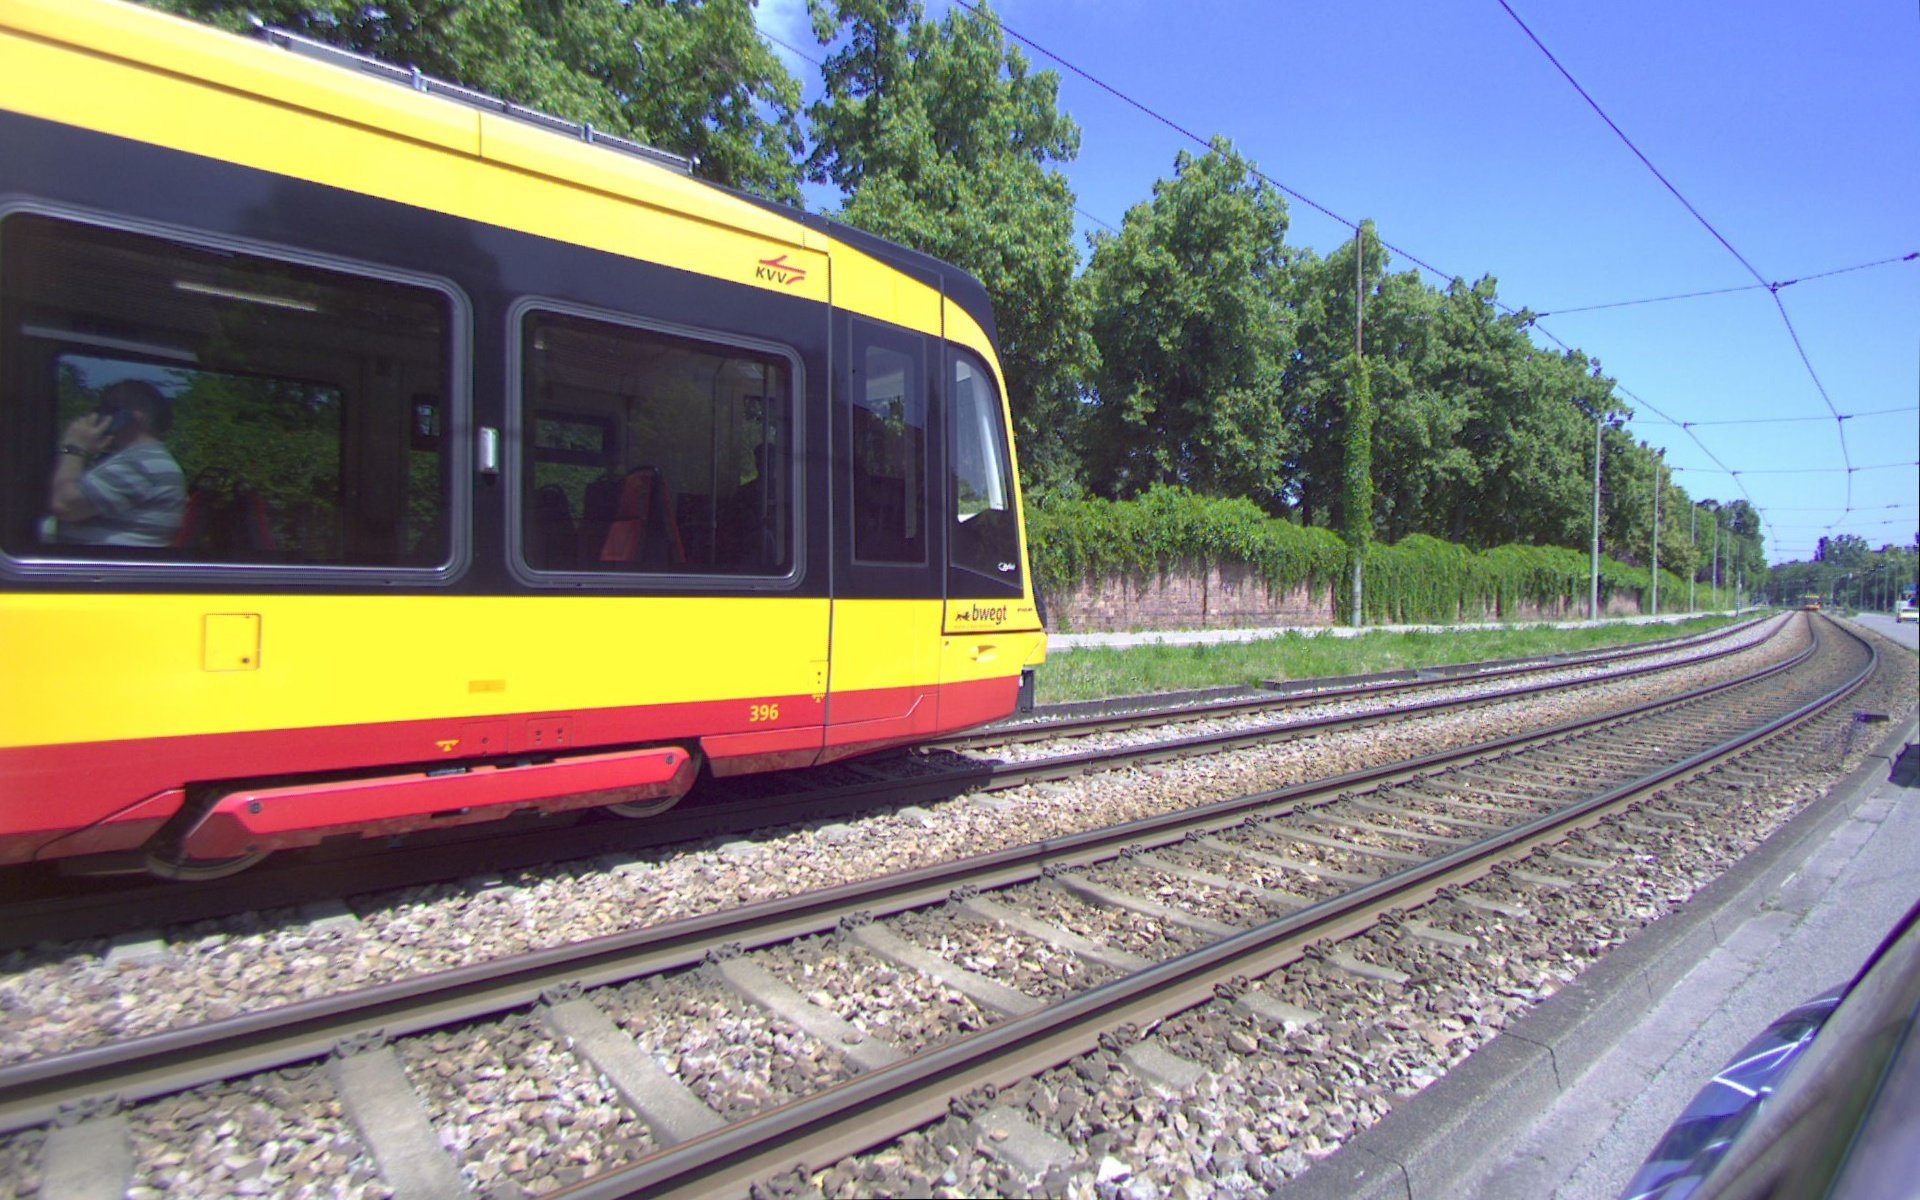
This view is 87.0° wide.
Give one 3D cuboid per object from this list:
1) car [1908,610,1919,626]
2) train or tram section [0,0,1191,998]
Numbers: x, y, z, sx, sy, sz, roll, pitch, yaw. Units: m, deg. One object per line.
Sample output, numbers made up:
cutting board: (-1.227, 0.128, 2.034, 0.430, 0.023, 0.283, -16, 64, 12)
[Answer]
car: (87.464, 1.640, 91.981, 1.688, 1.429, 3.465, 1, 0, 39)
train or tram section: (-4.375, -0.744, 3.895, 12.855, 3.845, 3.035, 0, 2, -40)
